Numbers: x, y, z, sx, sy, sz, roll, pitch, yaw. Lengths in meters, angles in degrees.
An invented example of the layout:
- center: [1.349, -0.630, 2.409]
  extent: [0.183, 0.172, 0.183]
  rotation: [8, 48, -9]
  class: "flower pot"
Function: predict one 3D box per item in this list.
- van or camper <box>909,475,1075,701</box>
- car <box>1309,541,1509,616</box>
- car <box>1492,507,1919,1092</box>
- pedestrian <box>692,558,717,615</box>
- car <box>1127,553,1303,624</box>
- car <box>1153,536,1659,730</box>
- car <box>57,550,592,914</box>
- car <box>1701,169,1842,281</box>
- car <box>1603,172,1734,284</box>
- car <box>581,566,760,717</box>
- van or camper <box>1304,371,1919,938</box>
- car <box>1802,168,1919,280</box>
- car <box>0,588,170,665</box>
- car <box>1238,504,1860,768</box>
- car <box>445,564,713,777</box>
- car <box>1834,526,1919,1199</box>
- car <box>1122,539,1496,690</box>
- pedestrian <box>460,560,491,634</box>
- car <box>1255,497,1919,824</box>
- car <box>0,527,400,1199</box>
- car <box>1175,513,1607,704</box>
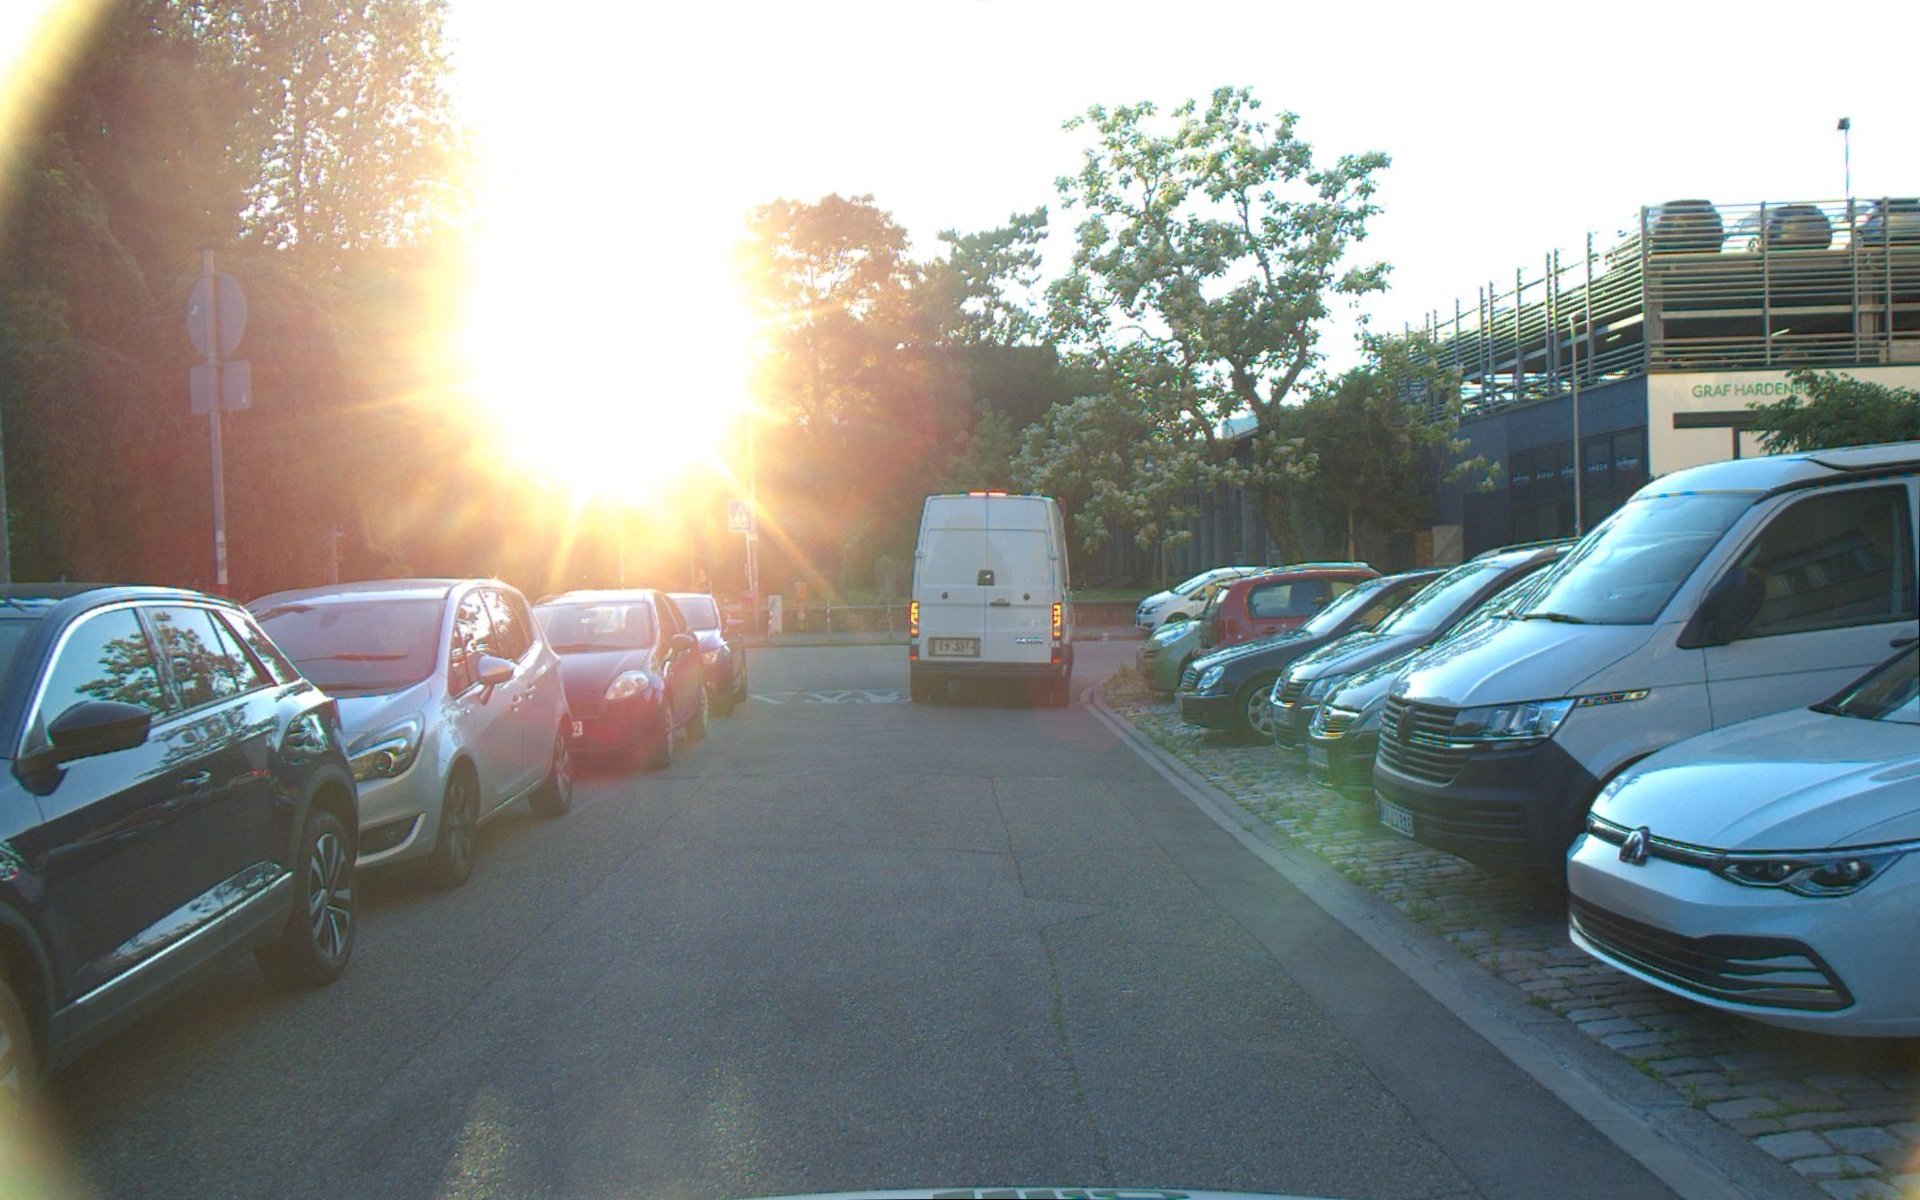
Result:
- center: [0.585, -0.194, 22.823]
  extent: [1.952, 2.664, 6.406]
  rotation: [0, 1, 4]
  class: "van or camper"
- center: [10.439, -0.500, 38.677]
  extent: [4.203, 1.529, 1.824]
  rotation: [-2, 1, 3]
  class: "car"
- center: [4.341, 0.503, 5.766]
  extent: [4.315, 1.660, 1.845]
  rotation: [-3, -1, -2]
  class: "car"
- center: [-7.618, -0.414, 49.288]
  extent: [0.633, 1.677, 0.674]
  rotation: [1, 1, -1]
  class: "pedestrian"
- center: [5.970, -0.291, 38.981]
  extent: [3.778, 1.601, 1.957]
  rotation: [-1, 1, -3]
  class: "car"
- center: [4.195, 0.311, 16.009]
  extent: [4.316, 1.558, 1.844]
  rotation: [-3, -1, -4]
  class: "car"
- center: [-3.375, 0.566, 9.684]
  extent: [1.699, 1.594, 4.127]
  rotation: [-3, 1, -4]
  class: "car"
- center: [21.061, -9.704, 43.112]
  extent: [1.951, 2.049, 4.002]
  rotation: [0, 1, 4]
  class: "car"
- center: [18.569, -9.721, 43.533]
  extent: [1.951, 2.049, 4.002]
  rotation: [0, 1, 4]
  class: "car"
- center: [-3.441, 0.422, 20.269]
  extent: [1.699, 1.594, 3.788]
  rotation: [-3, 1, -4]
  class: "car"
- center: [4.494, 0.089, 8.072]
  extent: [5.032, 2.205, 2.039]
  rotation: [-5, 0, -3]
  class: "van or camper"
- center: [23.770, -9.717, 43.016]
  extent: [1.951, 2.049, 4.002]
  rotation: [0, 1, 4]
  class: "car"
- center: [-21.184, 0.627, 39.391]
  extent: [3.770, 1.516, 1.826]
  rotation: [-2, 7, 5]
  class: "car"
- center: [4.649, 0.279, 13.474]
  extent: [4.317, 1.690, 1.844]
  rotation: [-4, -1, -4]
  class: "car"
- center: [-3.266, 0.519, 14.857]
  extent: [1.699, 1.594, 3.695]
  rotation: [-3, 1, -4]
  class: "car"
- center: [4.408, 0.529, 3.295]
  extent: [4.315, 1.620, 1.845]
  rotation: [-3, -1, -2]
  class: "car"
- center: [4.398, 0.191, 21.246]
  extent: [4.316, 1.660, 1.844]
  rotation: [-3, -1, -4]
  class: "car"
- center: [-12.207, -0.075, 41.694]
  extent: [0.581, 1.840, 0.621]
  rotation: [0, 1, 0]
  class: "pedestrian"
- center: [4.276, 0.345, 10.824]
  extent: [4.241, 1.690, 1.780]
  rotation: [-4, -1, -4]
  class: "car"
- center: [-3.160, 0.643, 4.984]
  extent: [1.699, 1.594, 4.164]
  rotation: [-3, 1, -4]
  class: "car"
- center: [4.750, 0.078, 18.695]
  extent: [4.314, 1.659, 1.846]
  rotation: [-5, 1, 1]
  class: "car"
